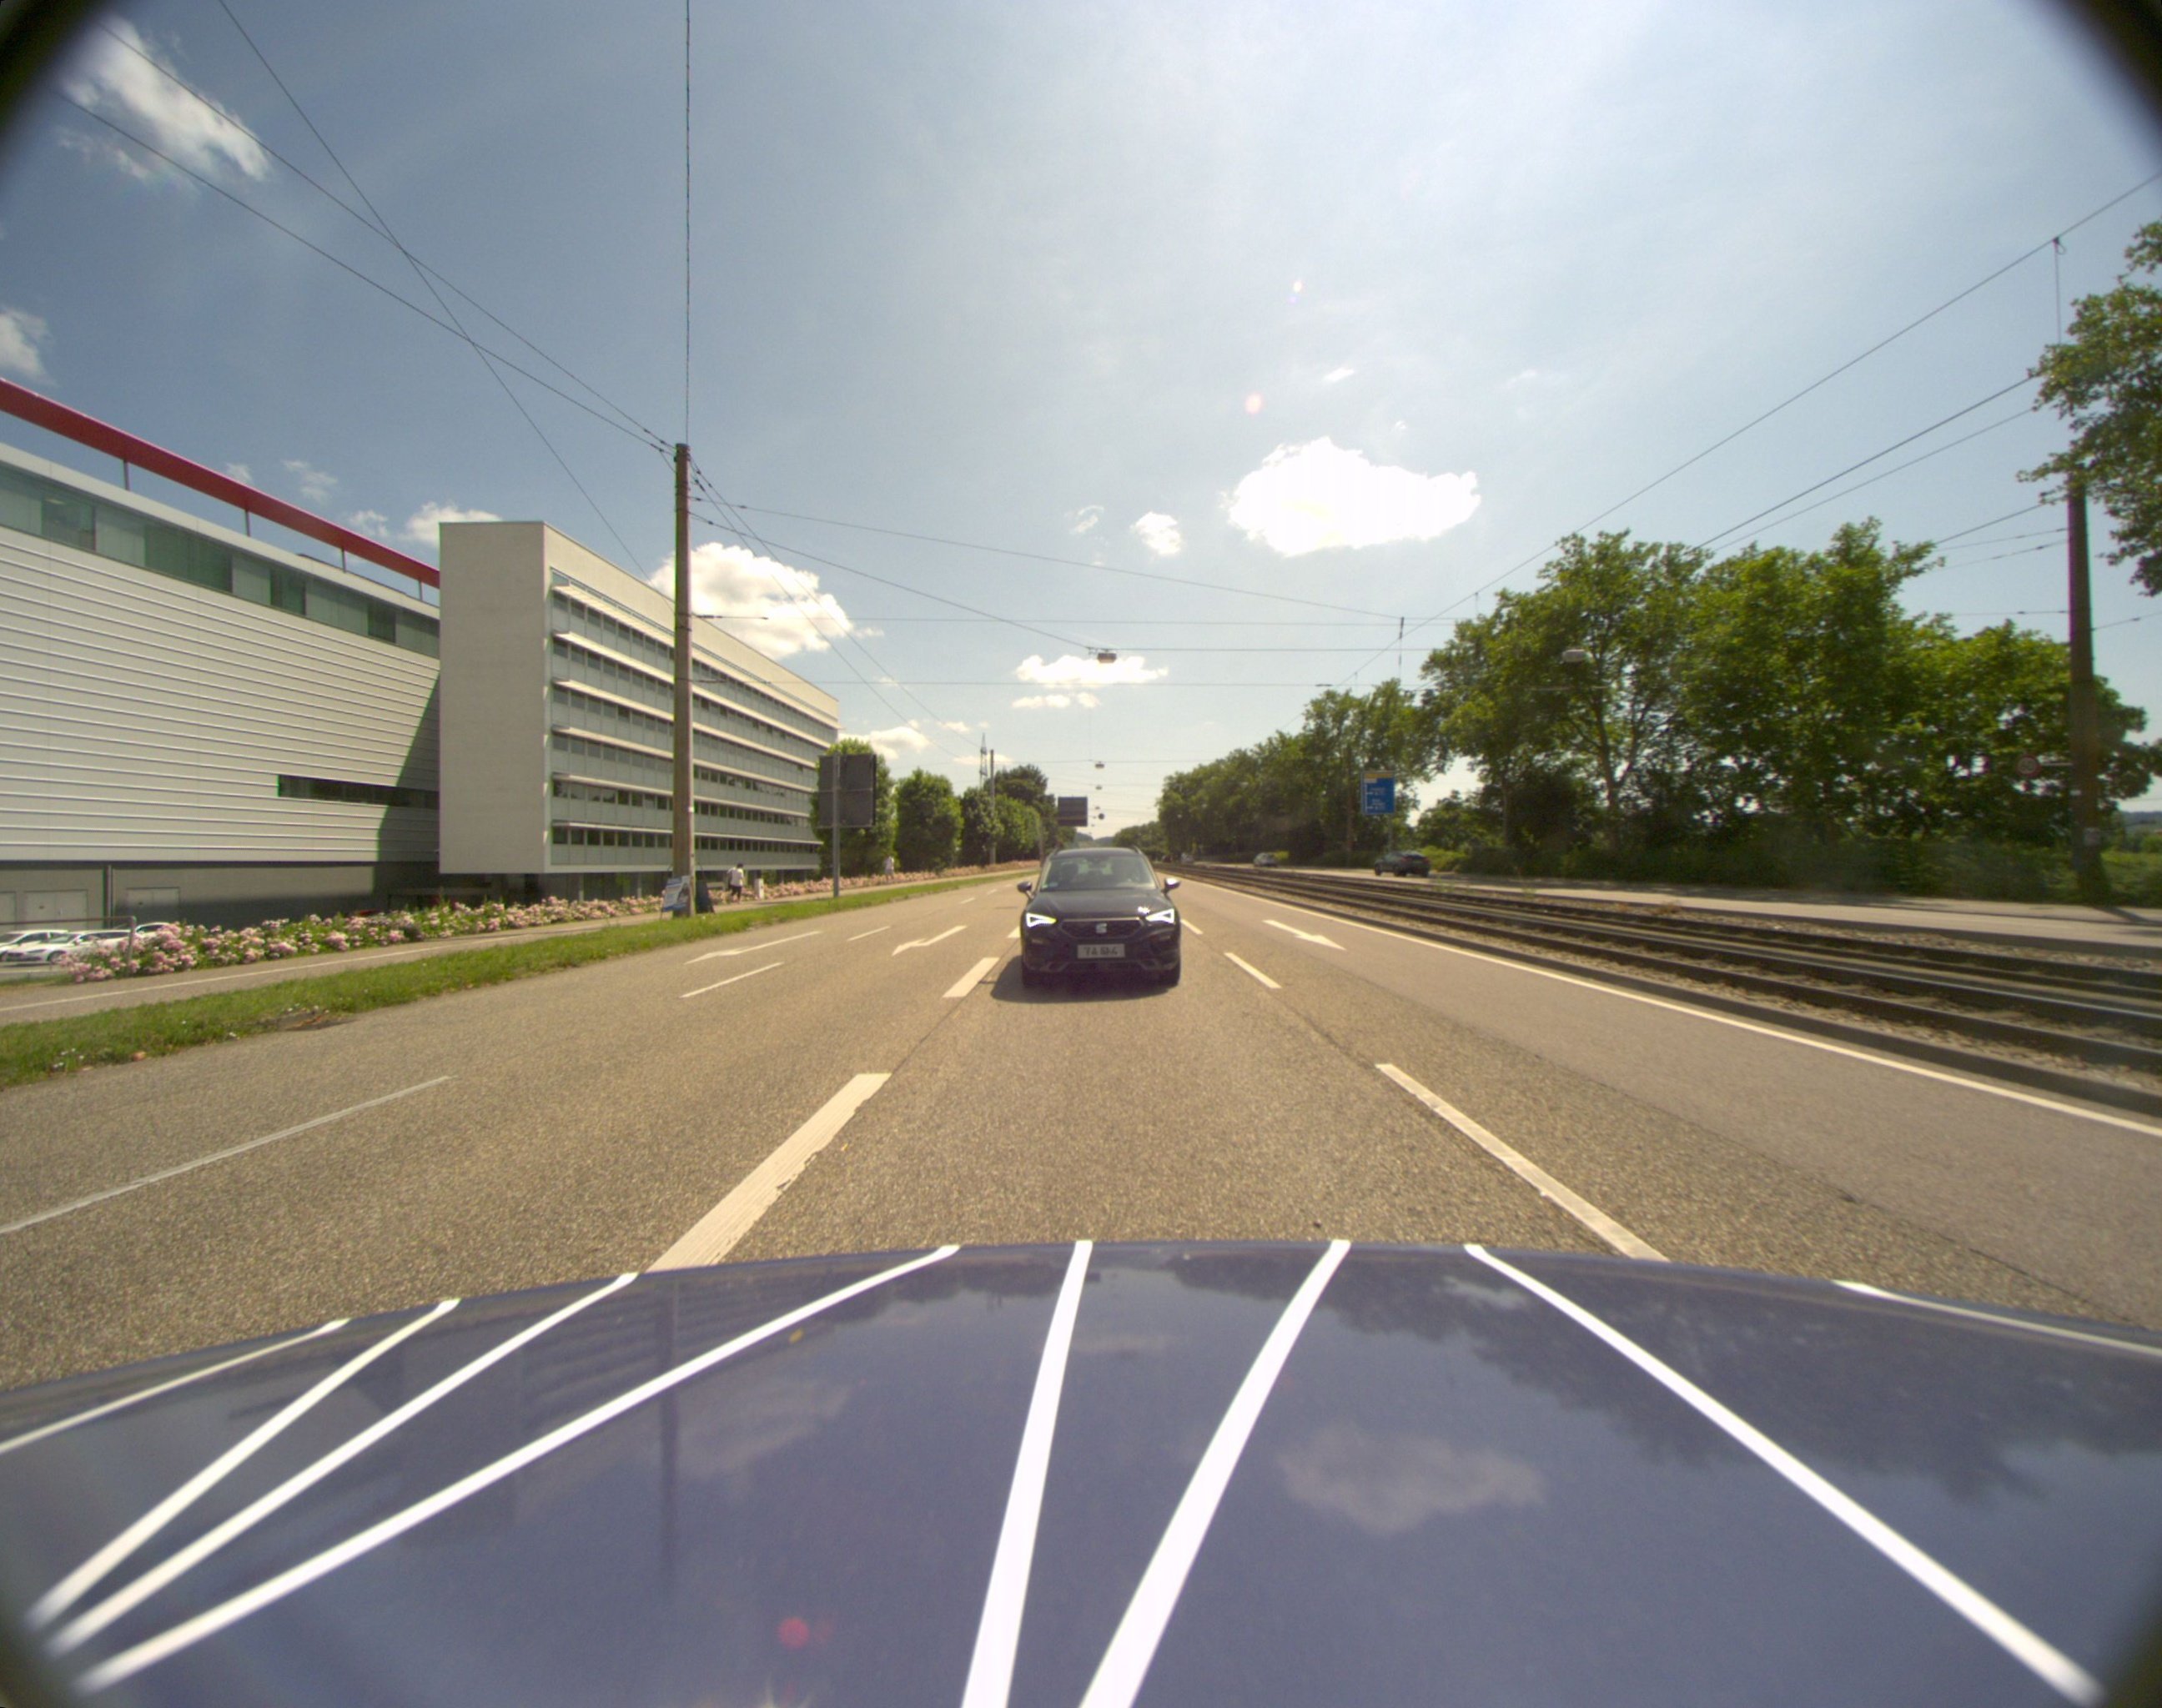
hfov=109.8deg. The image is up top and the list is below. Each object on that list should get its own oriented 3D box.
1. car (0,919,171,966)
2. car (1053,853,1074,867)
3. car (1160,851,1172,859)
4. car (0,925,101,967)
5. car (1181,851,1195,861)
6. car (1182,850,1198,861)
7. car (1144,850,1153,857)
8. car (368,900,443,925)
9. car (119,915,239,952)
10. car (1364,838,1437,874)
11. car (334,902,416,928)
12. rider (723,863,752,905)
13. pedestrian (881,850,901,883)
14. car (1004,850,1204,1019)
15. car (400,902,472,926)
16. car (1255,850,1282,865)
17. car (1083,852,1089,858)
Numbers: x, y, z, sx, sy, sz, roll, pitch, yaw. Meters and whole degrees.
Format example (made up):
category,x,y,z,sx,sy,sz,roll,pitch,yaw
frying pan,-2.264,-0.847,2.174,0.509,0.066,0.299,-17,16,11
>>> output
category,x,y,z,sx,sy,sz,roll,pitch,yaw
car,-48.525,4.264,37.038,1.998,1.602,5.146,-2,1,1
car,-1.764,0.560,76.295,1.896,1.331,4.000,-2,0,1
car,18.574,0.213,165.523,1.999,1.660,4.467,1,0,-2
car,-51.329,4.488,36.974,1.998,1.603,4.000,-2,1,1
car,16.906,0.325,120.230,1.690,1.574,4.058,2,0,-1
car,18.962,0.285,132.767,1.999,1.820,4.968,1,0,-1
car,18.278,-0.016,206.524,1.999,1.820,4.968,1,0,-1
car,-47.910,4.131,53.978,1.648,1.377,4.000,-2,1,1
car,-51.108,4.454,43.183,1.998,1.603,4.000,-2,1,1
car,18.403,0.153,43.970,1.999,1.906,4.409,2,-1,-5
car,-50.260,4.304,54.203,1.998,1.439,4.000,-2,1,1
rider,-12.259,1.074,27.134,0.671,1.449,0.618,-2,1,1
pedestrian,-10.550,0.684,42.174,0.758,1.838,0.931,-2,1,3
car,0.250,0.767,9.603,1.898,1.564,4.511,-1,1,1
car,-45.484,4.207,53.674,1.609,1.314,4.000,-2,1,1
car,19.163,0.330,77.921,1.827,1.407,3.883,1,0,1
car,1.584,0.294,239.033,1.998,1.641,4.000,-2,1,1
